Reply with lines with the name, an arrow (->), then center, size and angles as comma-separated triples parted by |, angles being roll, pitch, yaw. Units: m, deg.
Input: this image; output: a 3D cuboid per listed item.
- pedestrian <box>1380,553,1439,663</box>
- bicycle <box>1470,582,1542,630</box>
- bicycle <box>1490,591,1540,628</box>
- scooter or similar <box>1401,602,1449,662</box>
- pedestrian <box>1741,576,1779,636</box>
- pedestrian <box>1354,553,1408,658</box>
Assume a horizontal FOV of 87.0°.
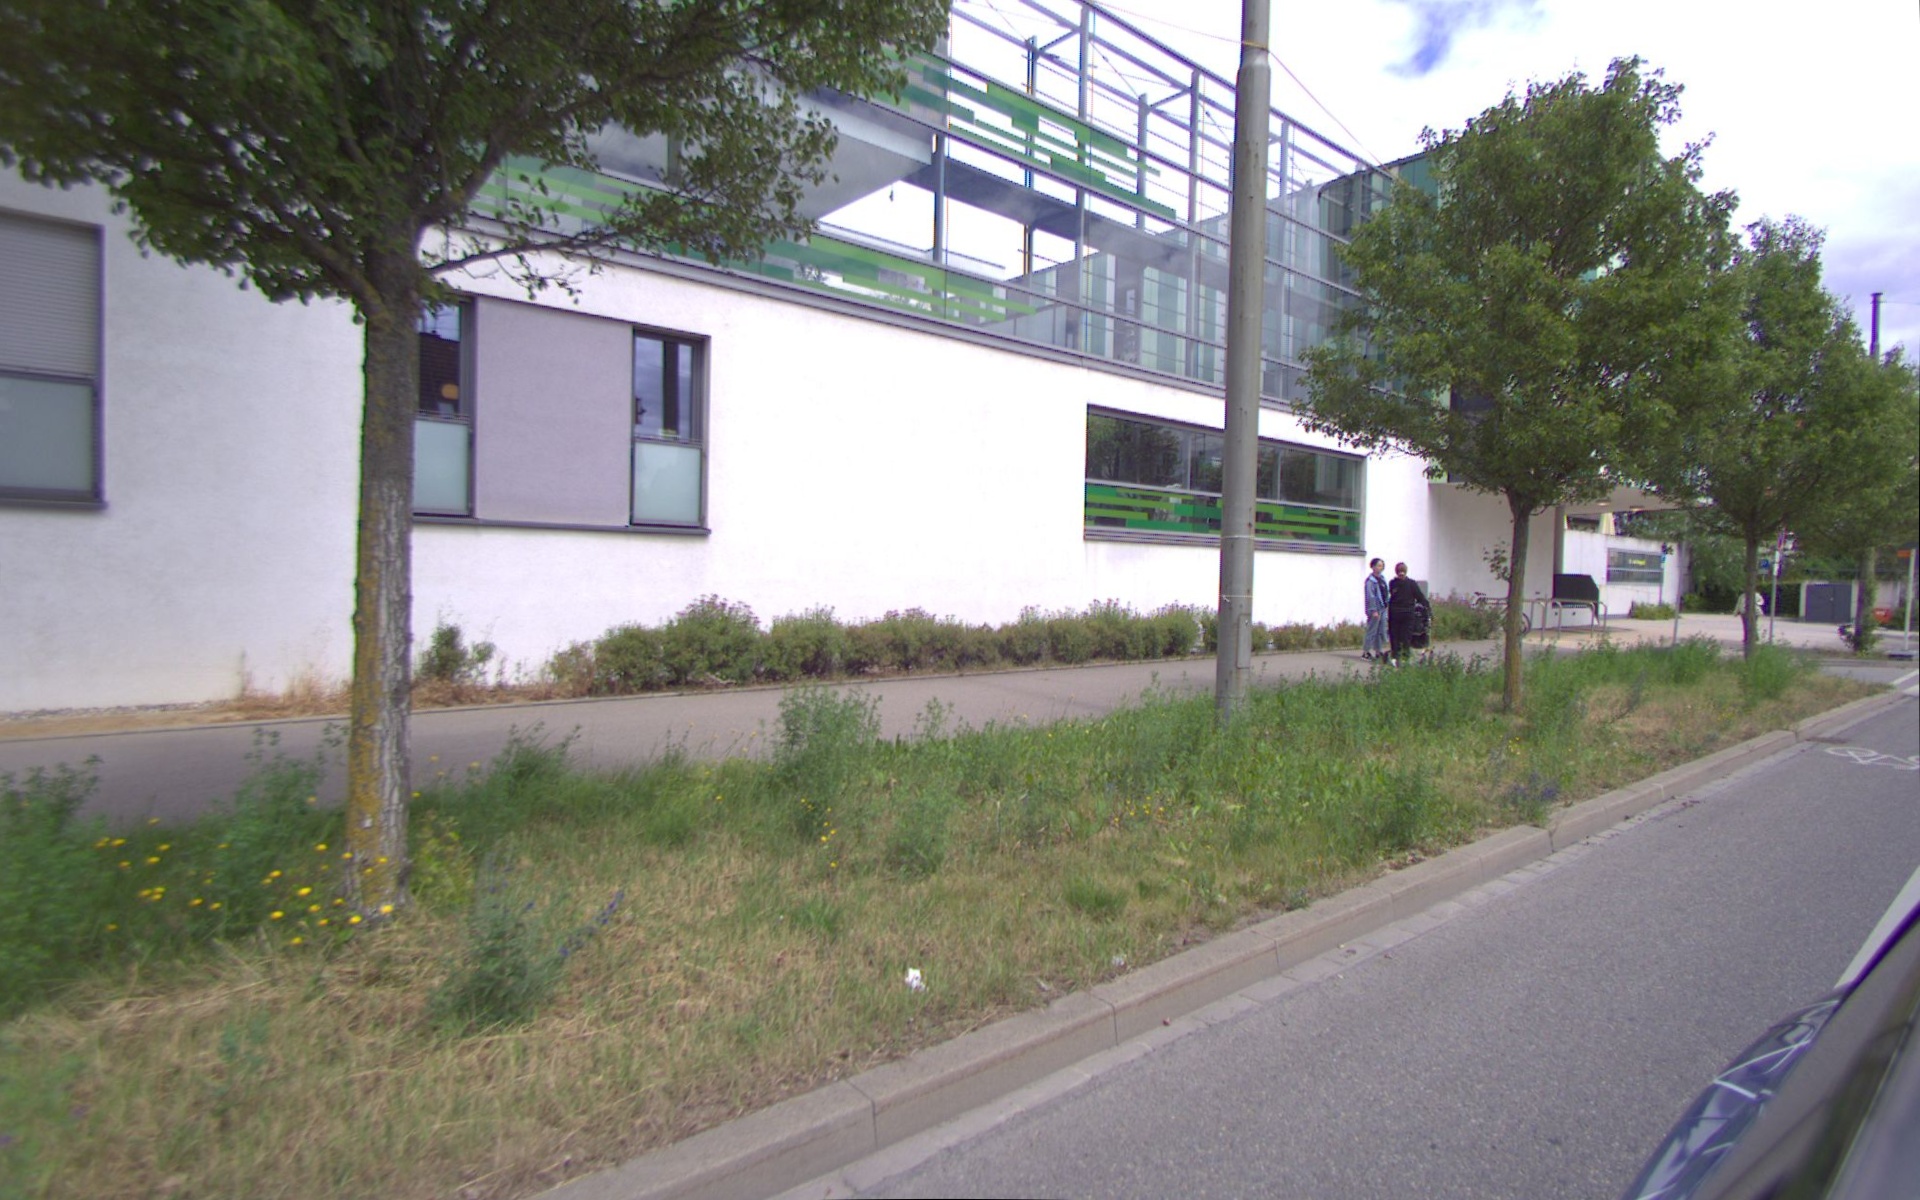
pedestrian -> 7.075, 0.111, 15.941 | 0.542, 1.675, 0.606 | 0, 2, -41
bicycle -> 13.055, 0.131, 24.216 | 1.462, 1.058, 0.303 | 4, 3, 38
bicycle -> 13.731, 0.222, 25.059 | 1.011, 0.852, 0.305 | 3, 2, 18
scooter or similar -> 7.449, 0.495, 16.210 | 0.670, 0.916, 0.422 | 0, 2, -41
pedestrian -> 21.641, 0.144, 27.370 | 0.853, 1.570, 0.582 | 0, 3, -41
pedestrian -> 6.957, 0.083, 16.715 | 0.596, 1.675, 0.551 | 0, 2, -41
